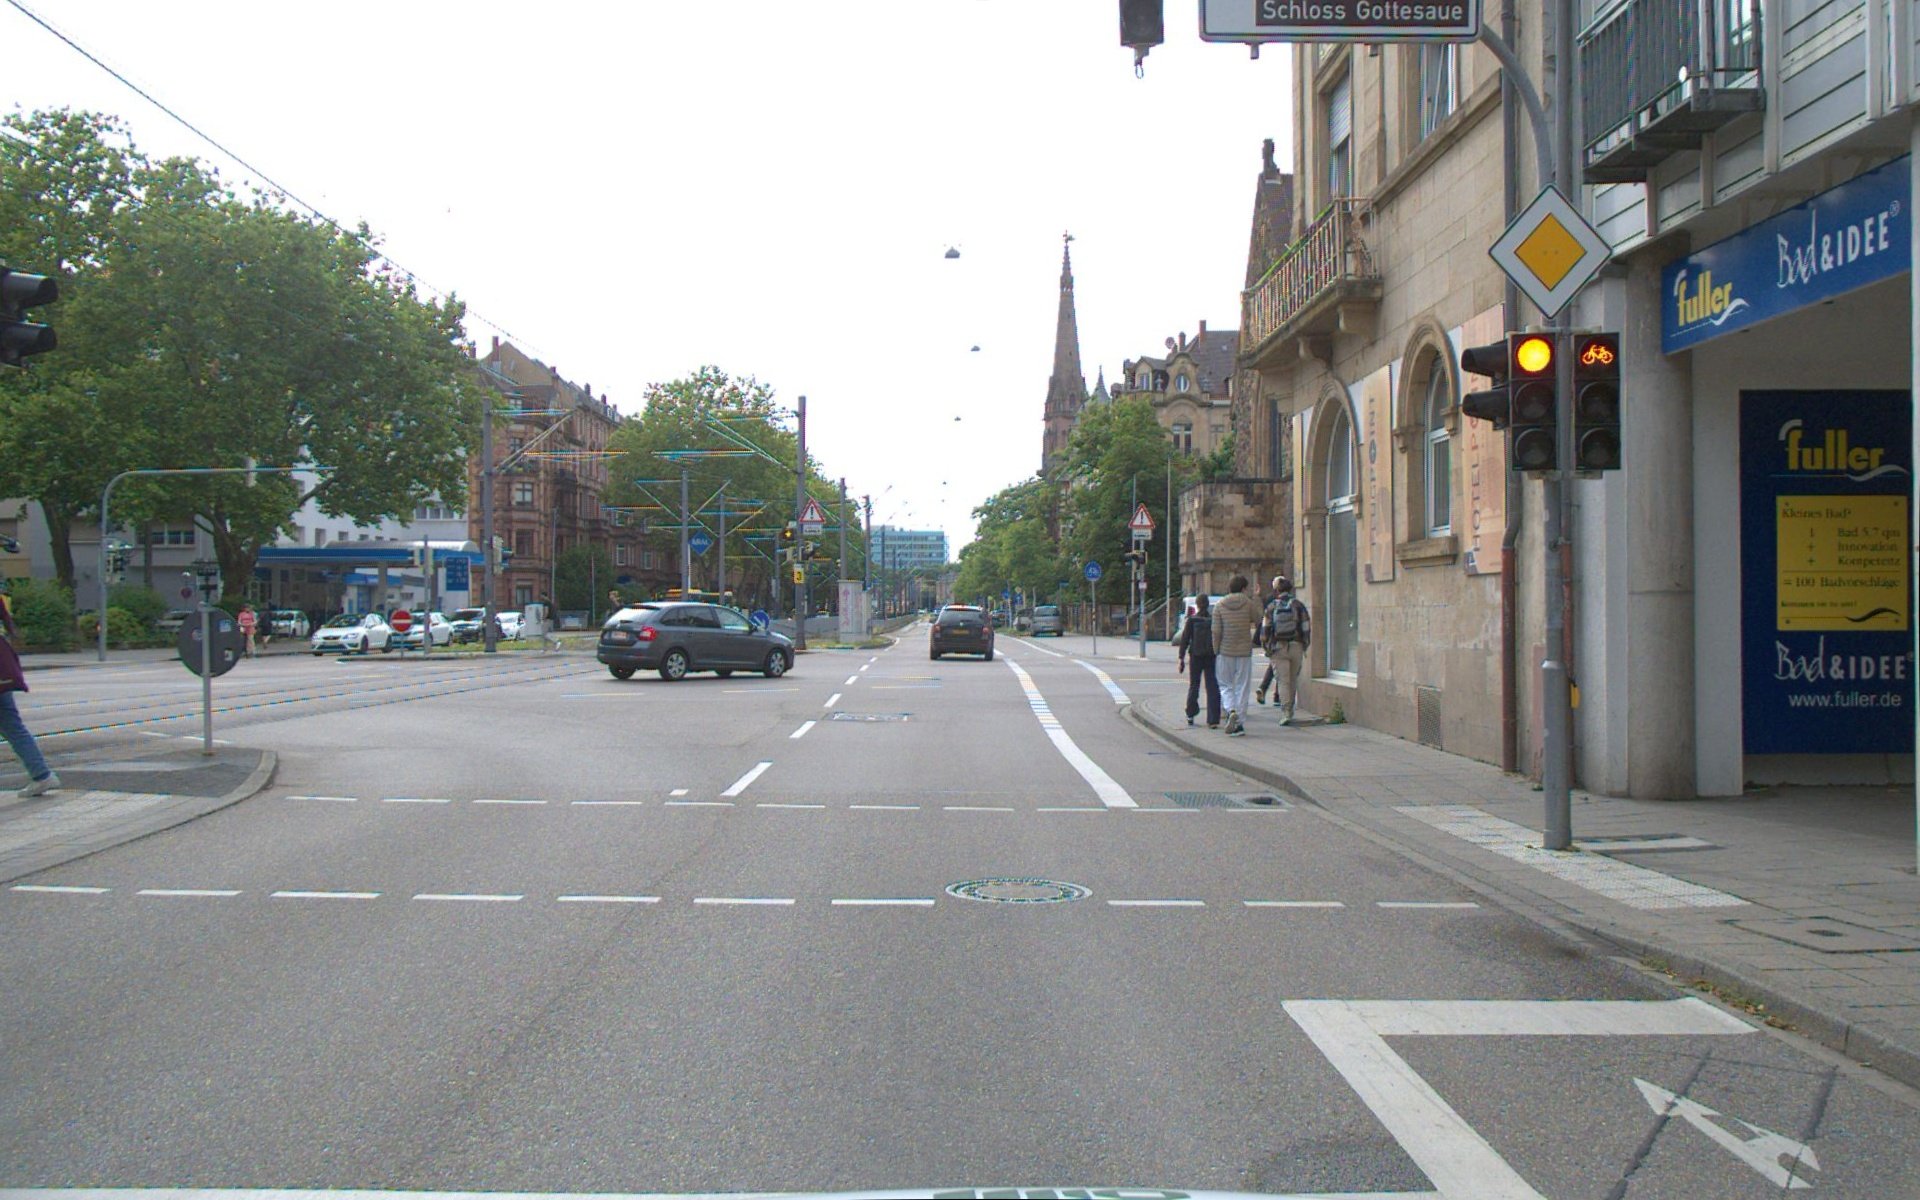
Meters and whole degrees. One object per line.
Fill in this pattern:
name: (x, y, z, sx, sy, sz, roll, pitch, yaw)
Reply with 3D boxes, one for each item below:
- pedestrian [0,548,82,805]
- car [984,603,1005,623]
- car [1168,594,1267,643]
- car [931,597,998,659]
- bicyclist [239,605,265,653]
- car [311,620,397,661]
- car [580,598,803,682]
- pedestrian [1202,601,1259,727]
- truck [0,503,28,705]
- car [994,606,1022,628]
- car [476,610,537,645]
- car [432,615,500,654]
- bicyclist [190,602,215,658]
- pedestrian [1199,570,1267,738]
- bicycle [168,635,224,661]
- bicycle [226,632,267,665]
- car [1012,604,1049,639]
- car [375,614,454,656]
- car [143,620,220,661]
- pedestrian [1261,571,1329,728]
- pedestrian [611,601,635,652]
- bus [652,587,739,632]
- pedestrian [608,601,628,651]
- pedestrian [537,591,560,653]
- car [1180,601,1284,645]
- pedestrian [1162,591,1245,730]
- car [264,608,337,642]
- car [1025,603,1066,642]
pedestrian: (-6.601, 0.507, 11.278, 0.659, 1.709, 0.864, 0, -1, 38)
car: (3.569, 1.336, 172.351, 1.953, 2.049, 3.999, 1, -1, -1)
car: (10.633, 0.774, 68.466, 3.721, 1.937, 2.000, 1, -1, -1)
car: (0.087, 0.767, 46.303, 1.769, 1.614, 4.340, 1, -1, -1)
bicyclist: (-23.522, 0.956, 54.948, 0.576, 1.595, 0.618, 1, -1, -1)
car: (-21.418, 1.401, 58.583, 1.601, 1.349, 3.999, 1, -1, -1)
car: (-5.101, 0.750, 31.758, 1.809, 1.495, 3.967, 0, -1, 43)
pedestrian: (3.569, 0.837, 21.862, 0.685, 1.621, 0.831, 1, -1, 7)
truck: (-18.985, -0.005, 23.363, 10.033, 2.992, 2.612, 1, 0, -29)
car: (3.744, 1.285, 128.521, 1.953, 1.635, 4.163, -2, 0, -1)
car: (-21.542, 1.299, 78.734, 1.856, 1.585, 3.835, 1, -1, -1)
car: (-21.452, 1.479, 71.972, 1.856, 1.585, 3.835, 1, -1, -1)
bicyclist: (-24.743, 0.979, 54.034, 0.522, 1.815, 0.470, 1, -1, 19)
pedestrian: (3.117, 0.600, 18.851, 0.571, 1.845, 1.015, 1, -1, 19)
bicycle: (-24.933, 1.560, 53.974, 1.645, 0.786, 0.656, 1, -1, 20)
bicycle: (-23.528, 1.604, 54.577, 0.511, 1.035, 1.936, 1, -1, -1)
car: (4.209, 1.277, 99.714, 1.953, 2.049, 3.999, 1, -1, -1)
car: (-21.390, 1.358, 64.995, 1.856, 1.585, 3.835, 1, -1, -1)
car: (-32.539, 1.670, 69.253, 1.859, 1.585, 3.828, 1, -1, -9)
pedestrian: (4.026, 0.585, 19.948, 0.613, 1.809, 1.135, -3, -1, 6)
pedestrian: (-10.512, 0.813, 51.568, 0.640, 1.564, 0.465, 1, -1, -5)
bus: (-19.751, 0.758, 124.521, 3.019, 3.166, 13.102, 1, -1, 6)
pedestrian: (-10.757, 0.827, 52.089, 0.535, 1.564, 0.465, 1, -1, -5)
pedestrian: (-12.227, 0.640, 49.170, 0.562, 1.826, 0.518, 1, -1, -5)
car: (10.680, 0.909, 65.055, 3.721, 1.629, 2.000, 1, -1, -1)
pedestrian: (3.035, 0.739, 20.592, 0.616, 1.681, 0.993, 0, -1, 36)
car: (-31.860, 1.193, 79.974, 1.953, 1.557, 3.999, 1, -1, -1)
car: (4.640, 1.205, 90.111, 1.953, 2.049, 3.999, 1, -1, -1)
